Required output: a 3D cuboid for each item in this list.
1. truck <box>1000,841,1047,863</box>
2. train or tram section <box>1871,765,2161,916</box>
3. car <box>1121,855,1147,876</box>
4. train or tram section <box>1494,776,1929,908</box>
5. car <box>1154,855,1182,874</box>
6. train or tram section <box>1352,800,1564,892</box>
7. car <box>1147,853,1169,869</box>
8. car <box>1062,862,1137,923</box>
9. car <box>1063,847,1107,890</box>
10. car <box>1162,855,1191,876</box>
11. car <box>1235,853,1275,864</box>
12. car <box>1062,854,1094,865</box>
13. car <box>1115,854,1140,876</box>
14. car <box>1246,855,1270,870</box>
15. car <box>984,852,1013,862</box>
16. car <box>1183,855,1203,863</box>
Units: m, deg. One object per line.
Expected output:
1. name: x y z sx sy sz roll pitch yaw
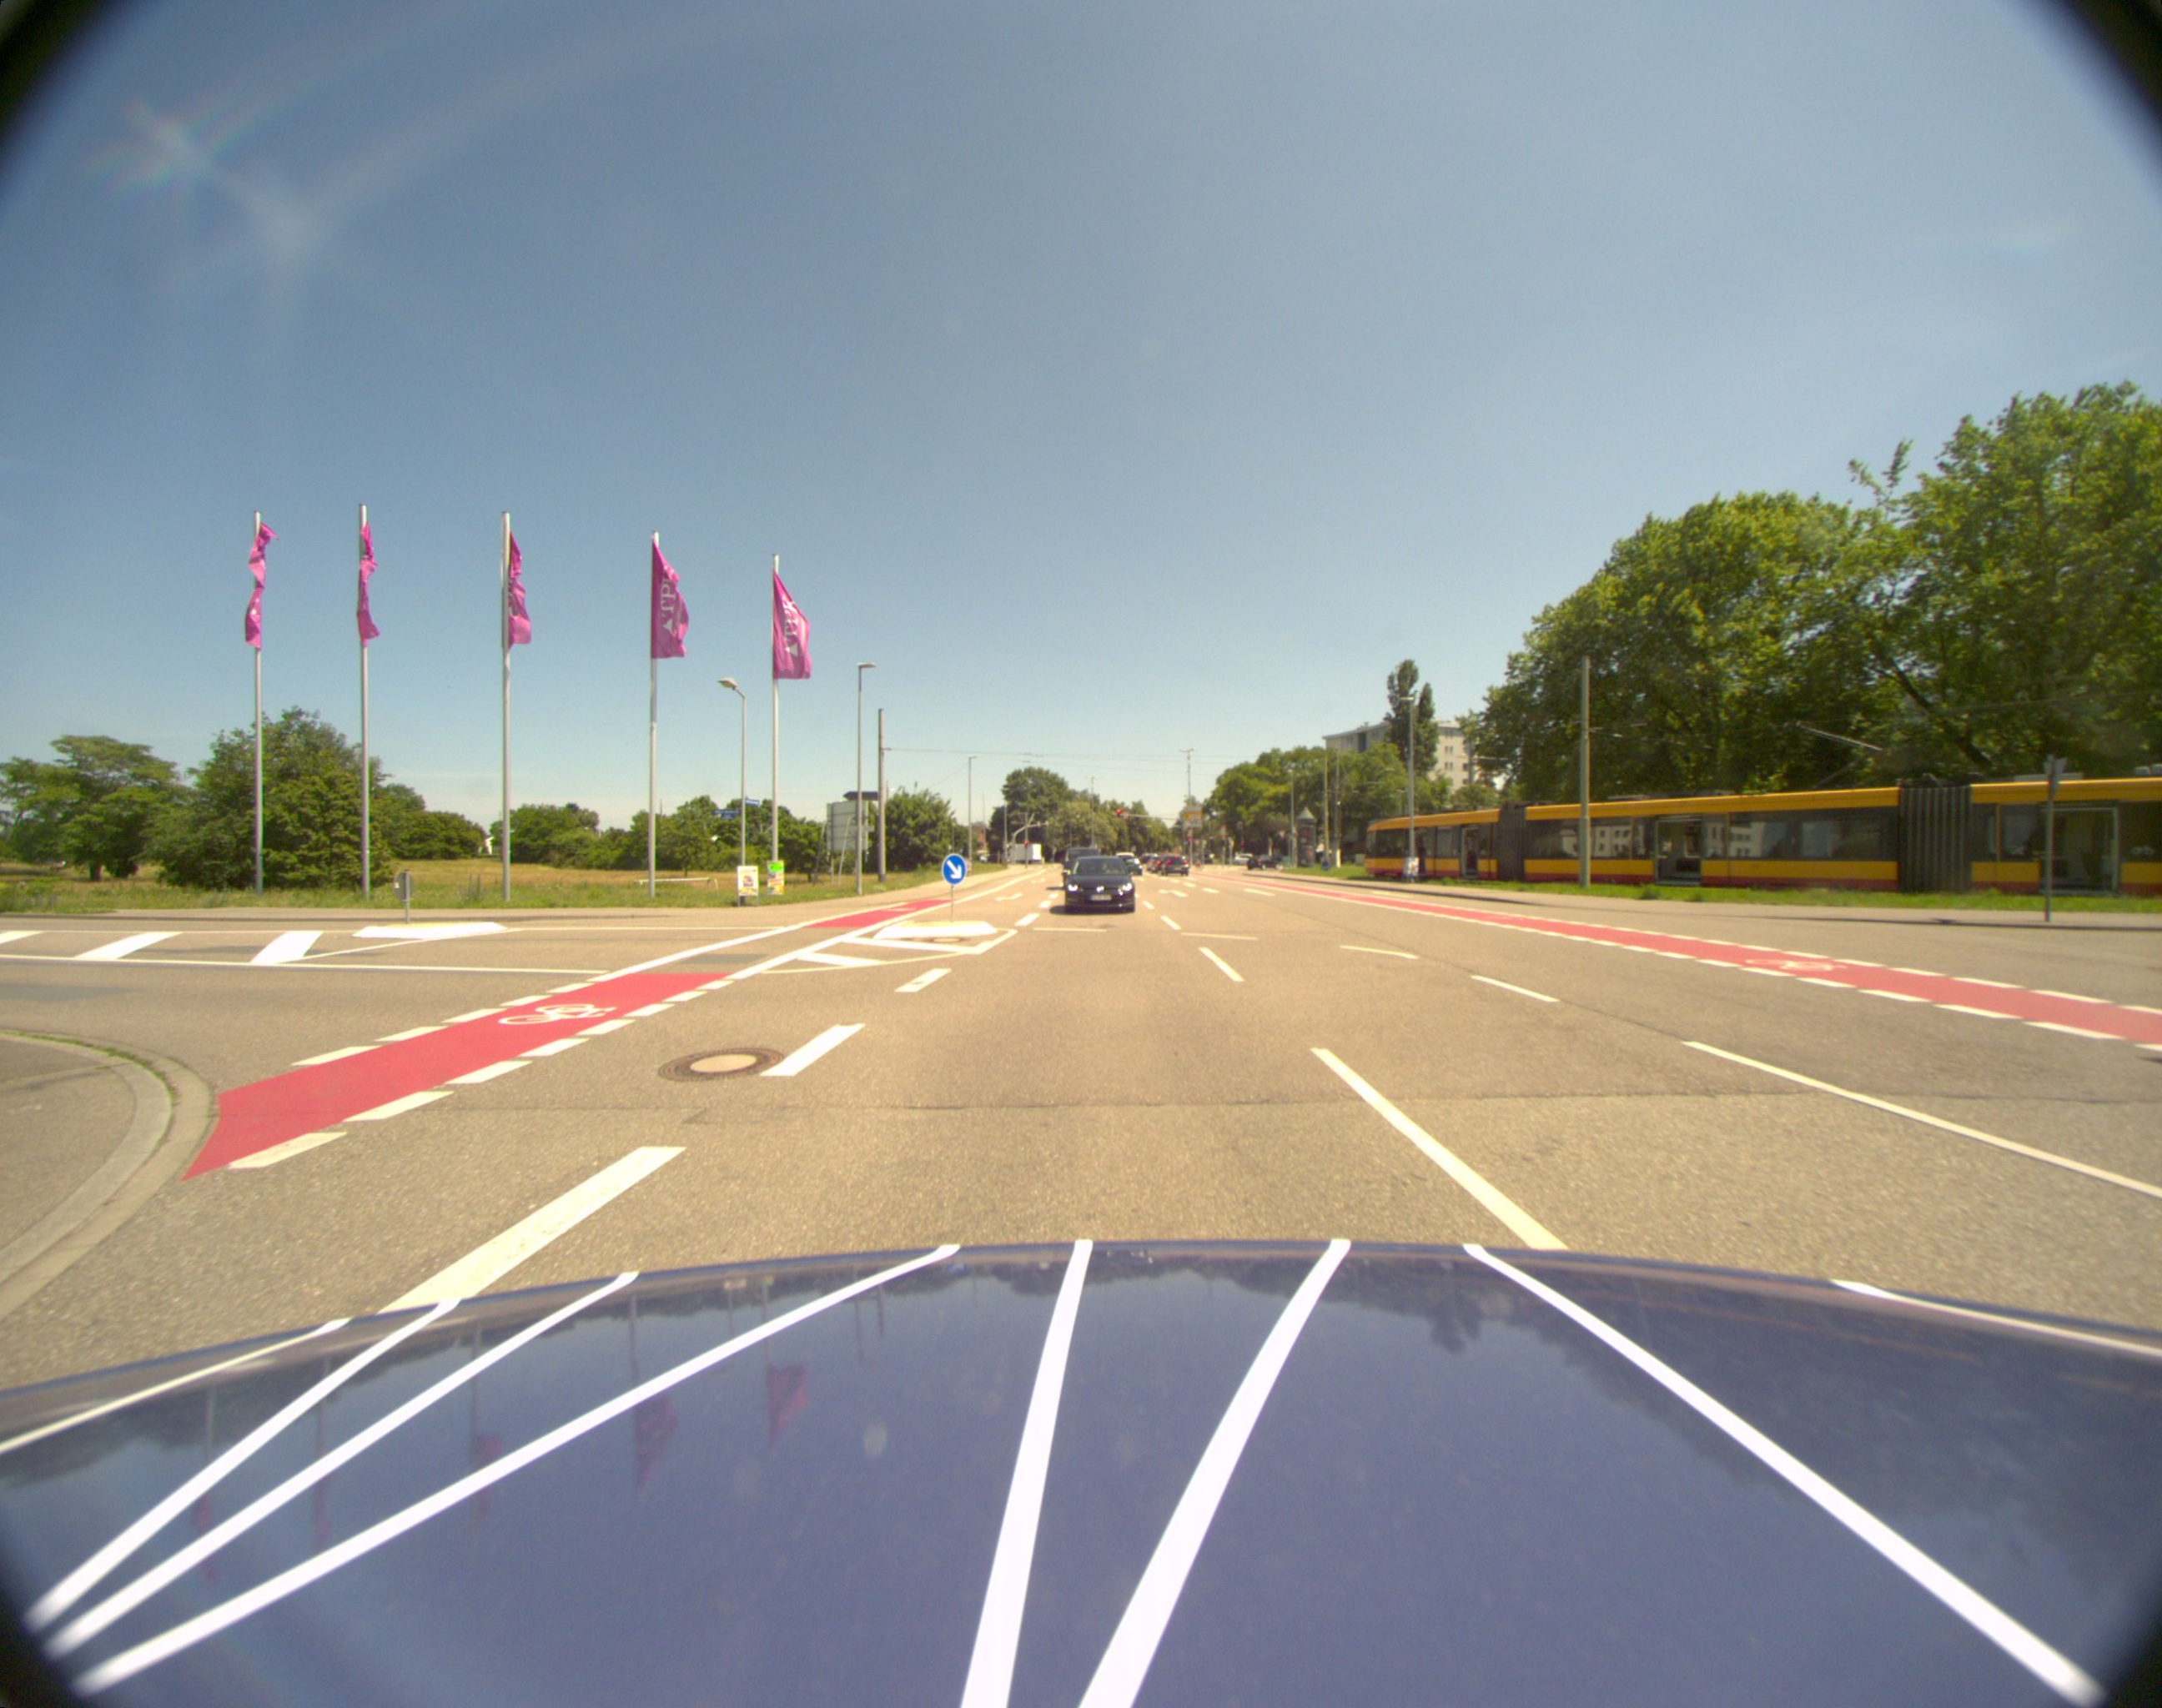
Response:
1. truck: -9.645 -0.272 126.345 7.690 3.511 2.594 0 -2 31
2. train or tram section: 29.827 -0.283 18.723 14.007 3.737 3.033 1 0 33
3. car: 3.873 0.838 56.329 1.727 1.454 3.990 -1 0 2
4. train or tram section: 21.428 -0.322 27.247 3.031 3.737 11.588 1 0 -31
5. car: 7.108 0.838 62.351 1.764 1.448 4.285 0 0 0
6. train or tram section: 18.021 -0.281 38.071 3.025 3.737 12.987 1 0 -6
7. car: 7.232 0.677 71.646 1.795 1.447 4.413 0 0 1
8. car: 0.435 0.910 19.524 1.708 1.396 4.054 0 0 0
9. car: 0.113 0.650 36.110 1.941 1.919 4.846 0 0 -1
10. car: 6.761 0.802 53.902 1.626 1.447 3.501 1 0 1
11. car: 21.546 0.599 94.243 4.400 1.380 1.879 0 -1 31
12. car: -0.471 0.860 110.458 4.400 1.566 1.879 0 -1 31
13. car: 3.858 0.916 64.010 1.816 1.713 4.831 -1 0 1
14. car: 17.737 0.792 76.125 1.745 1.397 4.447 1 1 20
15. car: -13.488 0.478 124.426 4.400 1.566 1.879 0 -1 31
16. car: 19.937 0.880 135.197 3.488 1.419 1.586 -1 -2 5
